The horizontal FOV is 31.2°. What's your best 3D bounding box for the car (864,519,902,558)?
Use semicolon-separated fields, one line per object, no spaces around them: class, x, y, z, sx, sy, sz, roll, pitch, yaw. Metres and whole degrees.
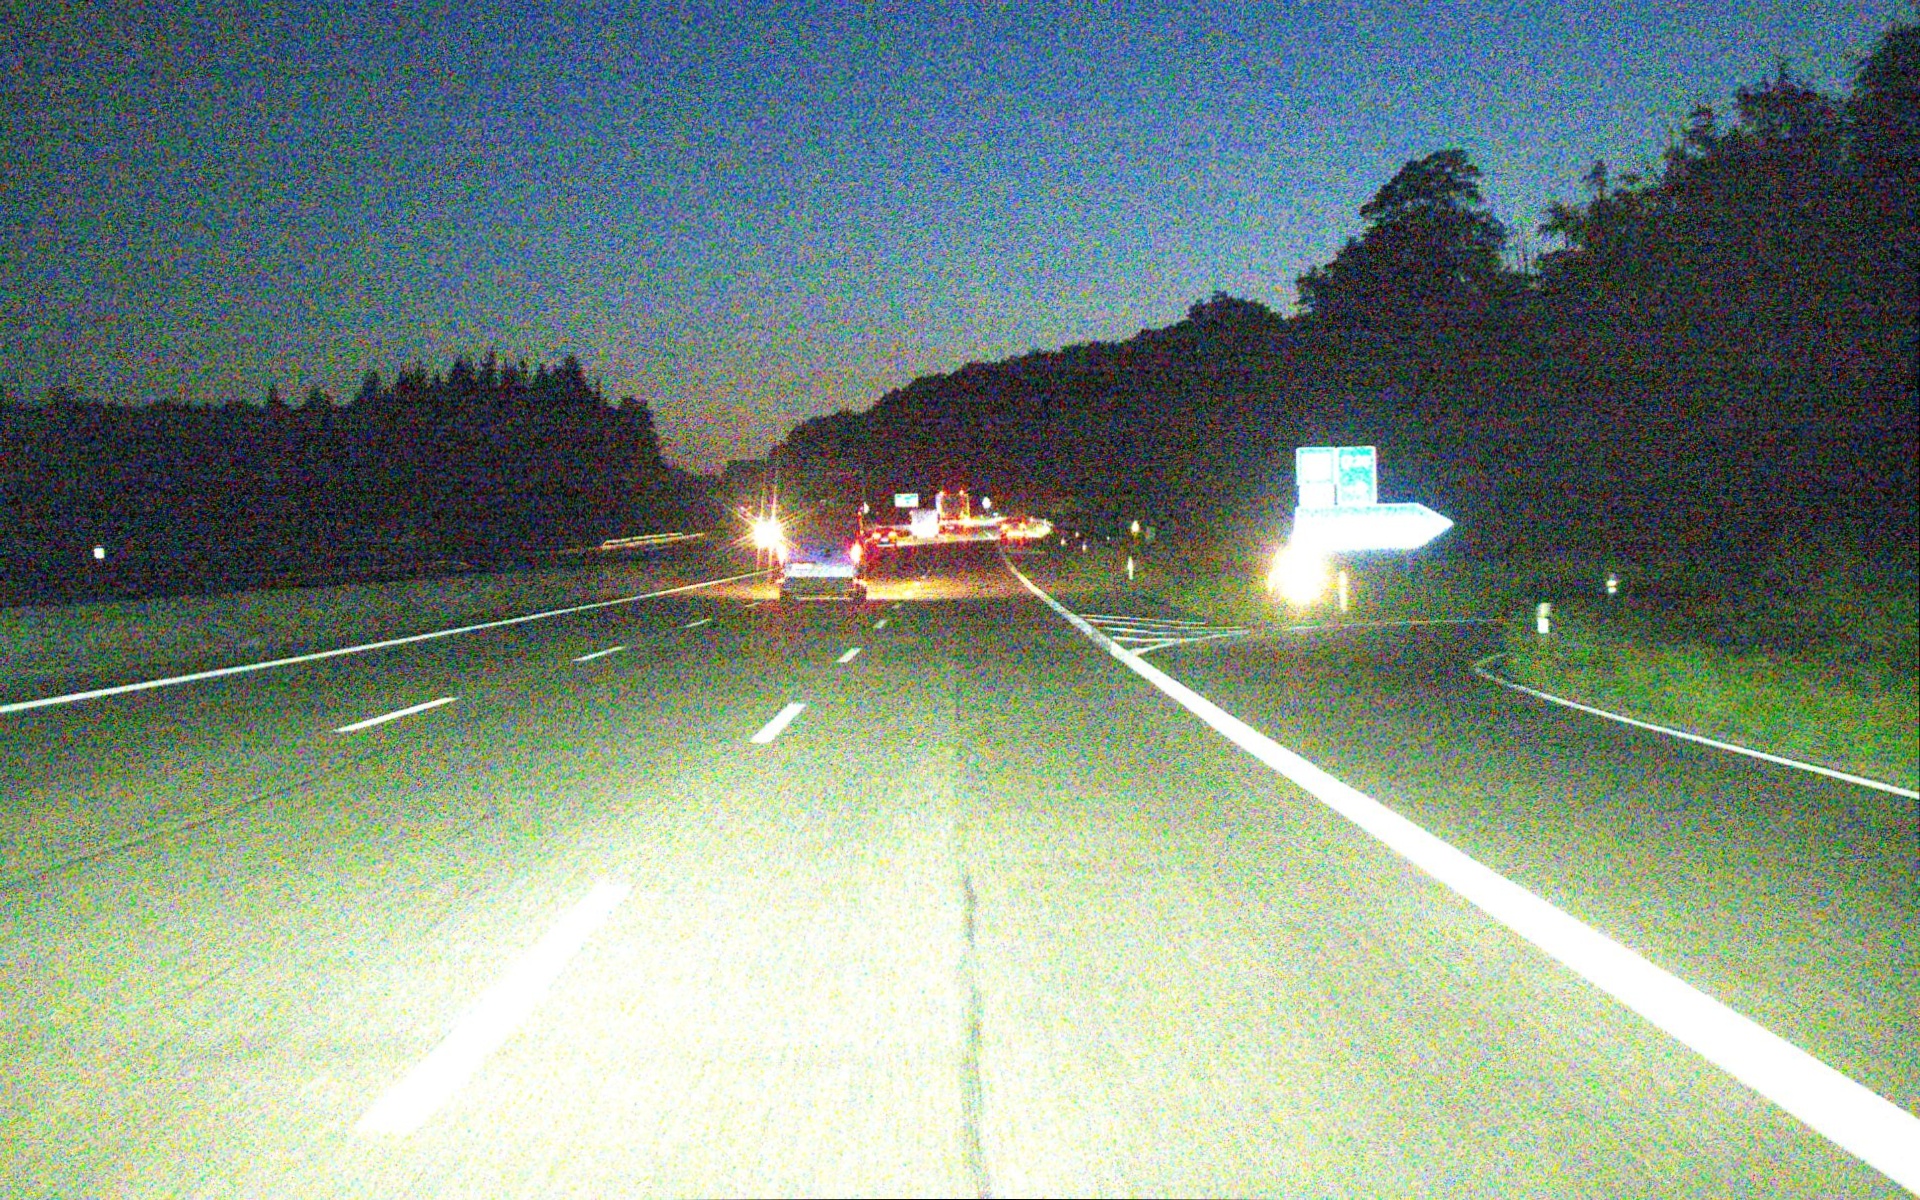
car;-5.764;-4.599;256.442;2.786;2.724;6.299;0;0;-1

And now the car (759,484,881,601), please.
car;-3.435;-1.382;85.806;2.786;2.724;6.299;0;0;0
